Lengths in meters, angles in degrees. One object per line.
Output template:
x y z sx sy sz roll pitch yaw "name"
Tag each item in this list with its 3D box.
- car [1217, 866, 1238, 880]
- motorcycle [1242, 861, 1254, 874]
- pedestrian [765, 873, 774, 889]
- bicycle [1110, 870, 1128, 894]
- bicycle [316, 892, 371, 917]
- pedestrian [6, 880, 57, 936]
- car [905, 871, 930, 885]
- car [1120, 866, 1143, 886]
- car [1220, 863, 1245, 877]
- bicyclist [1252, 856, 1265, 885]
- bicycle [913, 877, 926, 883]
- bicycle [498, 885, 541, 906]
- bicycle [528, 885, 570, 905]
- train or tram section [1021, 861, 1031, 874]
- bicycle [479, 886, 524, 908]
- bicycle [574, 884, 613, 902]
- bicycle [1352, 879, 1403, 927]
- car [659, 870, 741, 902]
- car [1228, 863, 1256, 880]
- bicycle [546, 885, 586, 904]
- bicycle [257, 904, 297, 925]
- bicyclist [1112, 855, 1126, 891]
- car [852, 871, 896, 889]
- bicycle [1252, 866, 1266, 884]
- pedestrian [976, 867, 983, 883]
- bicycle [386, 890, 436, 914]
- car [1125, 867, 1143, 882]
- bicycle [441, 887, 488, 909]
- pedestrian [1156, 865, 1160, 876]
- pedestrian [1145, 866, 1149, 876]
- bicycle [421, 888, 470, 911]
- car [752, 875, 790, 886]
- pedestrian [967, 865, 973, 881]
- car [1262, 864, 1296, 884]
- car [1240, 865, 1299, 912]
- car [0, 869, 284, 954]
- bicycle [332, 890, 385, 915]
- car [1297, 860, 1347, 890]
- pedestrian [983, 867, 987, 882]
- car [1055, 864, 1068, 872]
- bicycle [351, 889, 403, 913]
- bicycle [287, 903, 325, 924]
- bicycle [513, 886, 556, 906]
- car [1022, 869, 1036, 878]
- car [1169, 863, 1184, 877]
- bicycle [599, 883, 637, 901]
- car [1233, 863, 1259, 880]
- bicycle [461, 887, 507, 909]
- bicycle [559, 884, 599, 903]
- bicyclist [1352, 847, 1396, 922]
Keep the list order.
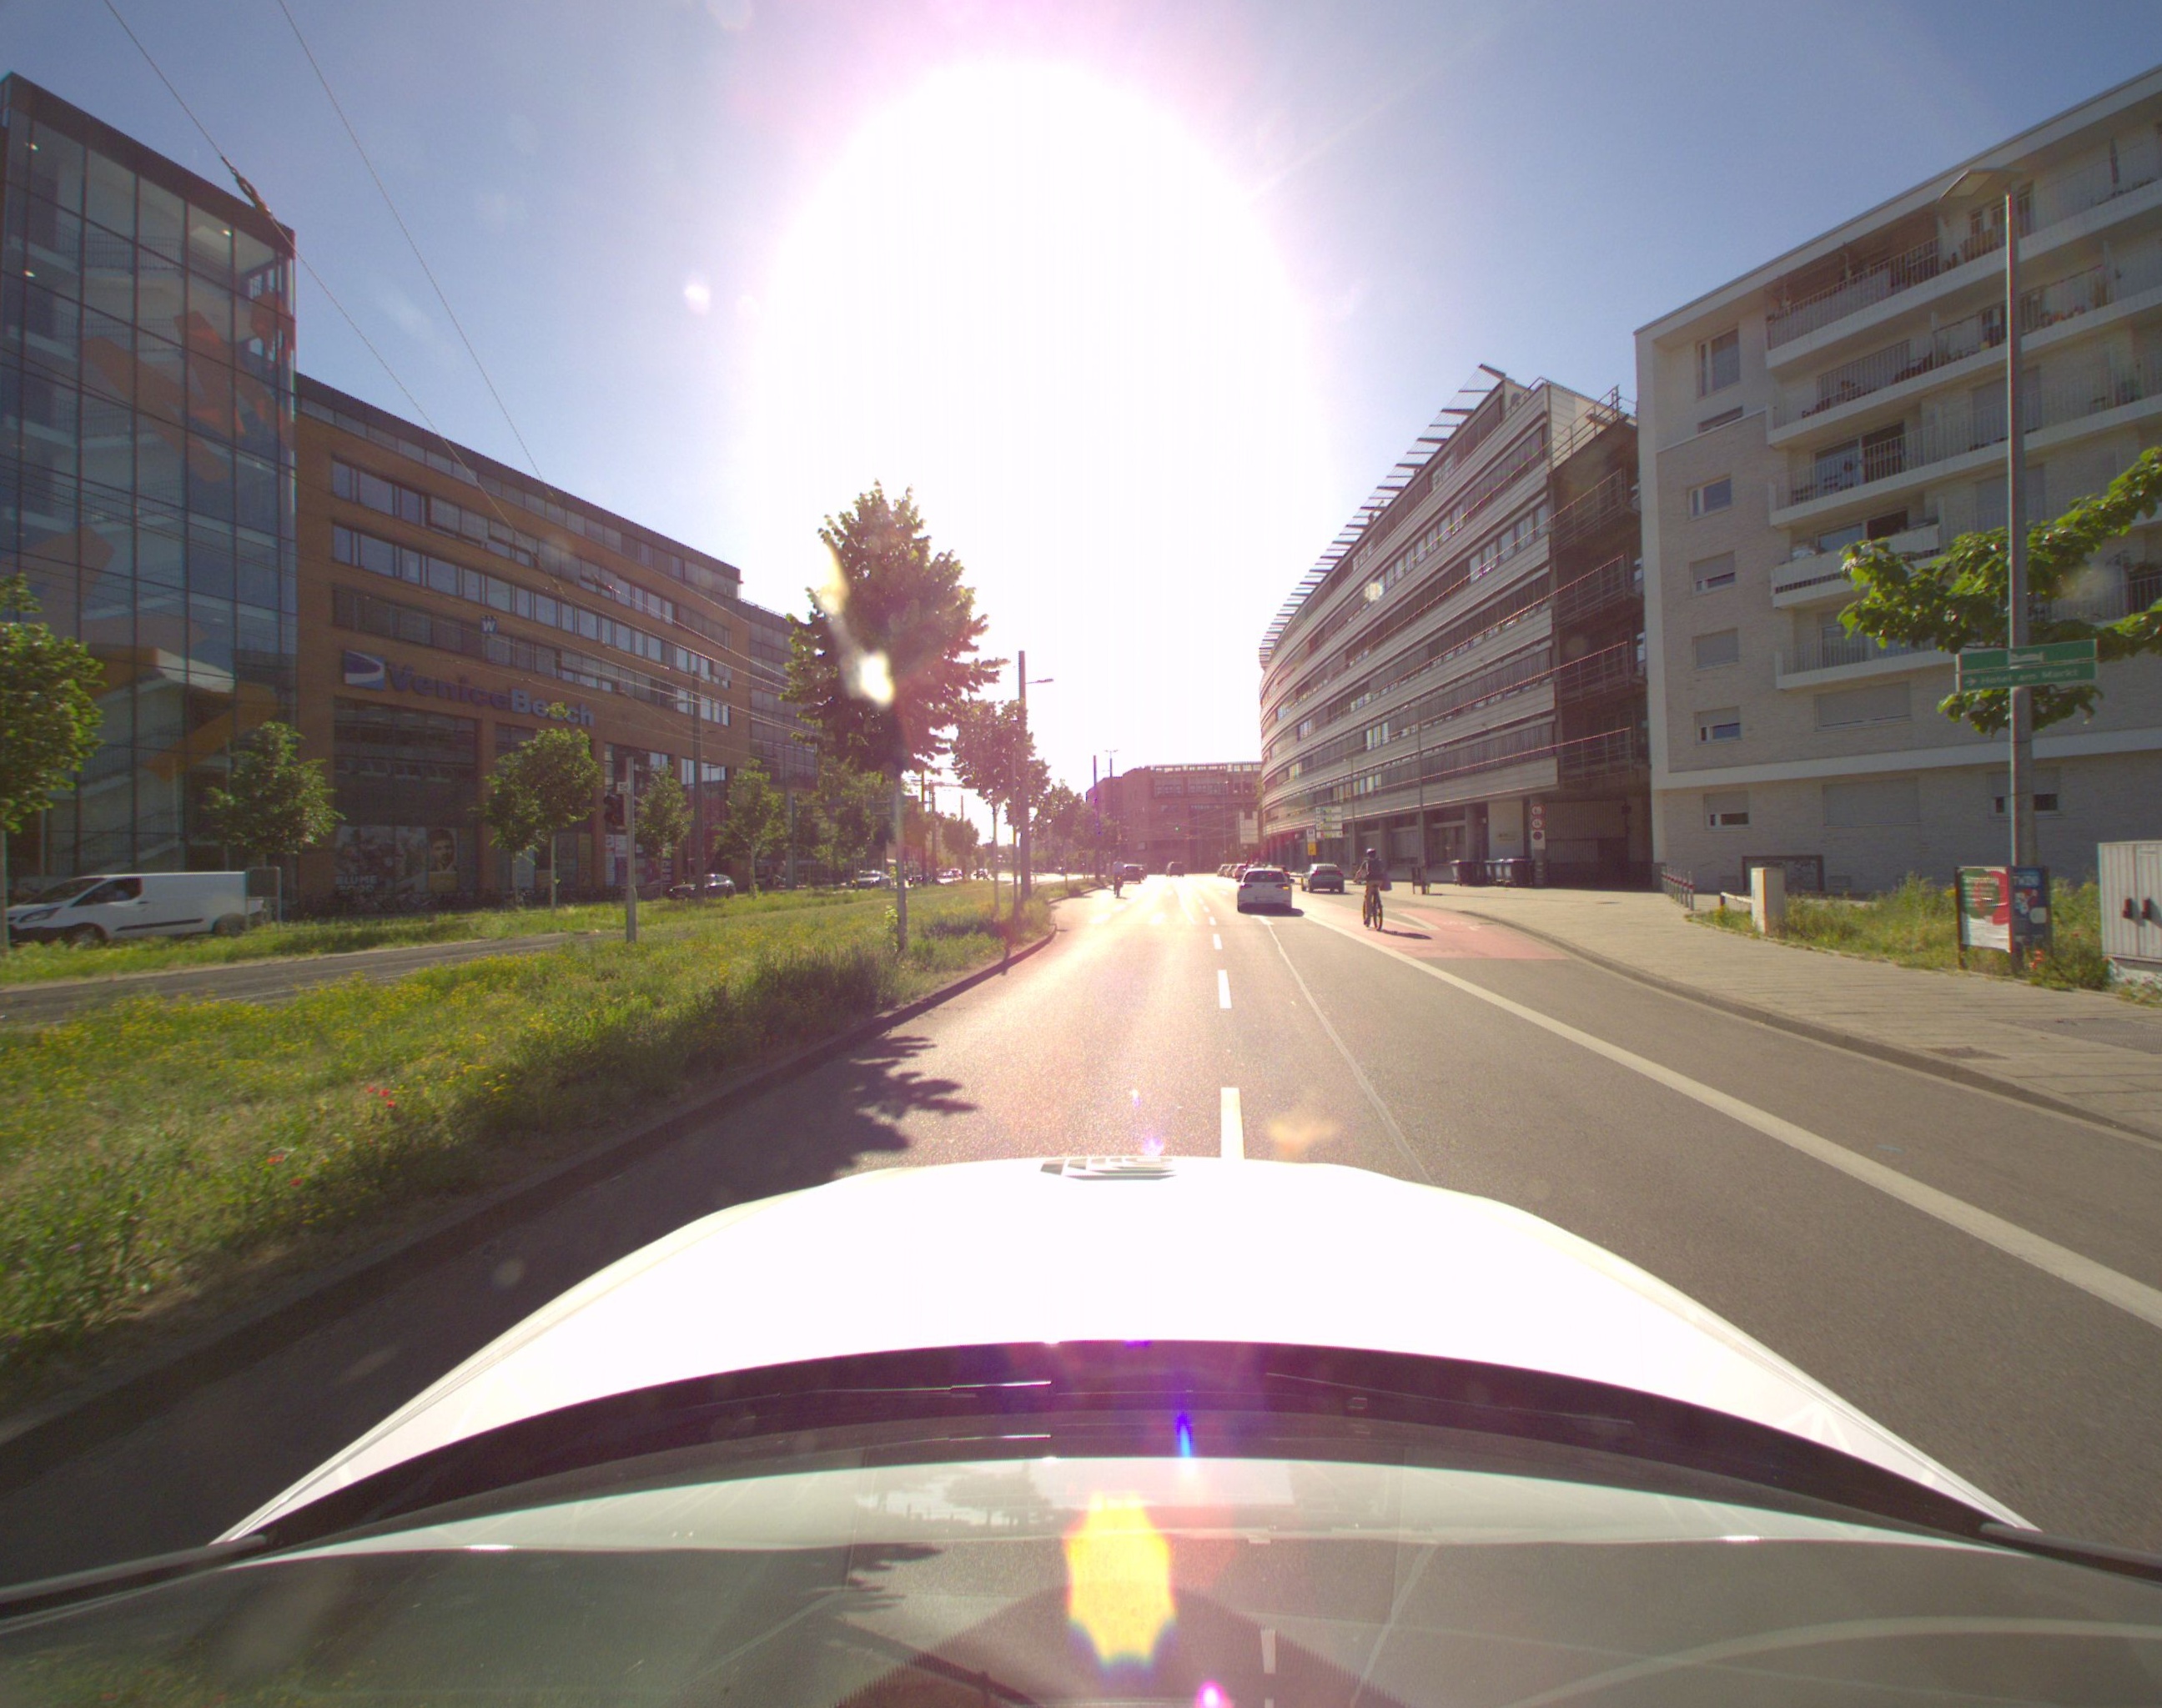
17.435 2.264 97.288 1.899 1.583 4.140 0 0 2 "car"
15.759 1.269 76.790 0.825 1.201 2.392 0 -1 4 "motorcycle"
-32.295 2.768 84.466 0.504 1.624 0.789 -1 -3 4 "pedestrian"
1.813 1.325 38.526 0.683 1.070 2.701 0 -1 5 "bicycle"
-33.911 2.312 37.433 2.158 1.123 0.756 0 -1 13 "bicycle"
-32.916 1.681 25.544 0.592 1.685 0.780 -1 -1 6 "pedestrian"
-16.020 2.356 80.030 1.420 1.359 3.302 -1 -1 7 "car"
4.094 1.770 65.648 1.718 1.564 3.683 -2 -1 6 "car"
16.505 1.729 88.658 1.900 1.541 4.136 1 0 -1 "car"
11.025 1.035 50.546 0.645 1.752 1.048 -2 0 8 "bicyclist"
-34.128 5.471 172.392 2.475 1.310 0.734 -1 -1 2 "bicycle"
-31.606 2.328 45.840 2.158 1.123 0.756 0 -1 13 "bicycle"
-30.992 2.389 47.406 2.158 1.123 0.756 0 -1 13 "bicycle"
-13.850 3.380 203.611 2.323 3.003 13.135 -1 -1 -5 "train or tram section"
-31.951 2.363 44.886 2.158 1.123 0.756 0 -1 13 "bicycle"
-30.350 2.425 50.682 2.158 1.123 0.756 0 -1 13 "bicycle"
6.908 1.114 19.083 0.820 1.037 1.897 0 -1 10 "bicycle"
-21.760 1.789 46.751 1.981 1.681 4.550 -1 -1 10 "car"
16.318 1.762 82.771 1.901 1.583 4.136 1 0 -1 "car"
-30.953 2.410 48.945 2.158 1.123 0.756 0 -1 13 "bicycle"
-32.894 2.465 33.330 1.436 0.819 0.447 0 -1 13 "bicycle"
1.814 0.897 38.412 0.615 1.670 1.021 0 -1 5 "bicyclist"
-16.584 2.061 65.556 1.985 1.334 4.795 -1 -1 4 "car"
11.013 1.313 50.424 0.645 1.110 1.762 -2 -2 8 "bicycle"
-11.923 2.439 95.553 0.584 1.831 0.492 -1 -1 -34 "pedestrian"
-33.297 2.369 40.452 2.158 1.123 0.756 0 -1 13 "bicycle"
5.312 2.046 81.245 1.719 1.449 4.525 -2 -1 3 "car"
-32.563 2.339 43.009 2.158 1.123 0.756 0 -1 13 "bicycle"
11.809 2.512 124.615 0.479 1.656 0.489 -1 -1 -13 "pedestrian"
10.082 2.578 125.029 0.479 1.579 0.412 -1 -1 -13 "pedestrian"
-32.792 2.335 42.026 2.158 1.123 0.756 0 -1 13 "bicycle"
-39.317 3.331 103.267 3.970 1.231 2.002 -1 -1 3 "car"
-12.871 2.205 94.451 0.463 1.831 0.454 -1 -1 -34 "pedestrian"
14.790 1.473 60.957 1.714 1.422 4.641 0 -1 4 "car"
6.260 1.102 27.453 1.761 1.403 4.306 1 -1 11 "car"
-25.832 1.461 22.402 2.207 2.014 5.270 -1 -1 10 "car"
-34.057 2.296 38.399 2.158 1.123 0.756 0 -1 13 "bicycle"
12.869 1.105 43.684 1.713 1.524 4.405 -1 -1 5 "car"
-11.550 2.466 97.892 0.387 1.831 0.459 -1 -1 -27 "pedestrian"
-4.366 3.059 179.319 2.263 1.727 3.929 -1 -1 -11 "car"
-33.981 2.269 39.312 2.158 1.123 0.756 0 -1 13 "bicycle"
-32.563 2.488 34.211 1.436 0.819 0.447 0 -1 13 "bicycle"
-31.234 2.379 46.576 2.158 1.123 0.756 0 -1 13 "bicycle"
-10.704 3.944 167.458 2.263 1.727 3.929 -1 -1 -11 "car"
11.923 2.014 102.012 1.774 1.703 4.143 0 0 5 "car"
-29.819 2.441 52.434 2.158 1.123 0.756 0 -1 13 "bicycle"
14.461 1.500 71.462 1.713 1.396 4.794 -1 -1 5 "car"
-32.253 2.373 44.008 2.158 1.123 0.756 0 -1 13 "bicycle"
-30.704 2.420 49.794 2.158 1.123 0.756 0 -1 13 "bicycle"
6.825 0.702 19.027 0.801 1.693 1.054 0 -1 10 "bicyclist"
